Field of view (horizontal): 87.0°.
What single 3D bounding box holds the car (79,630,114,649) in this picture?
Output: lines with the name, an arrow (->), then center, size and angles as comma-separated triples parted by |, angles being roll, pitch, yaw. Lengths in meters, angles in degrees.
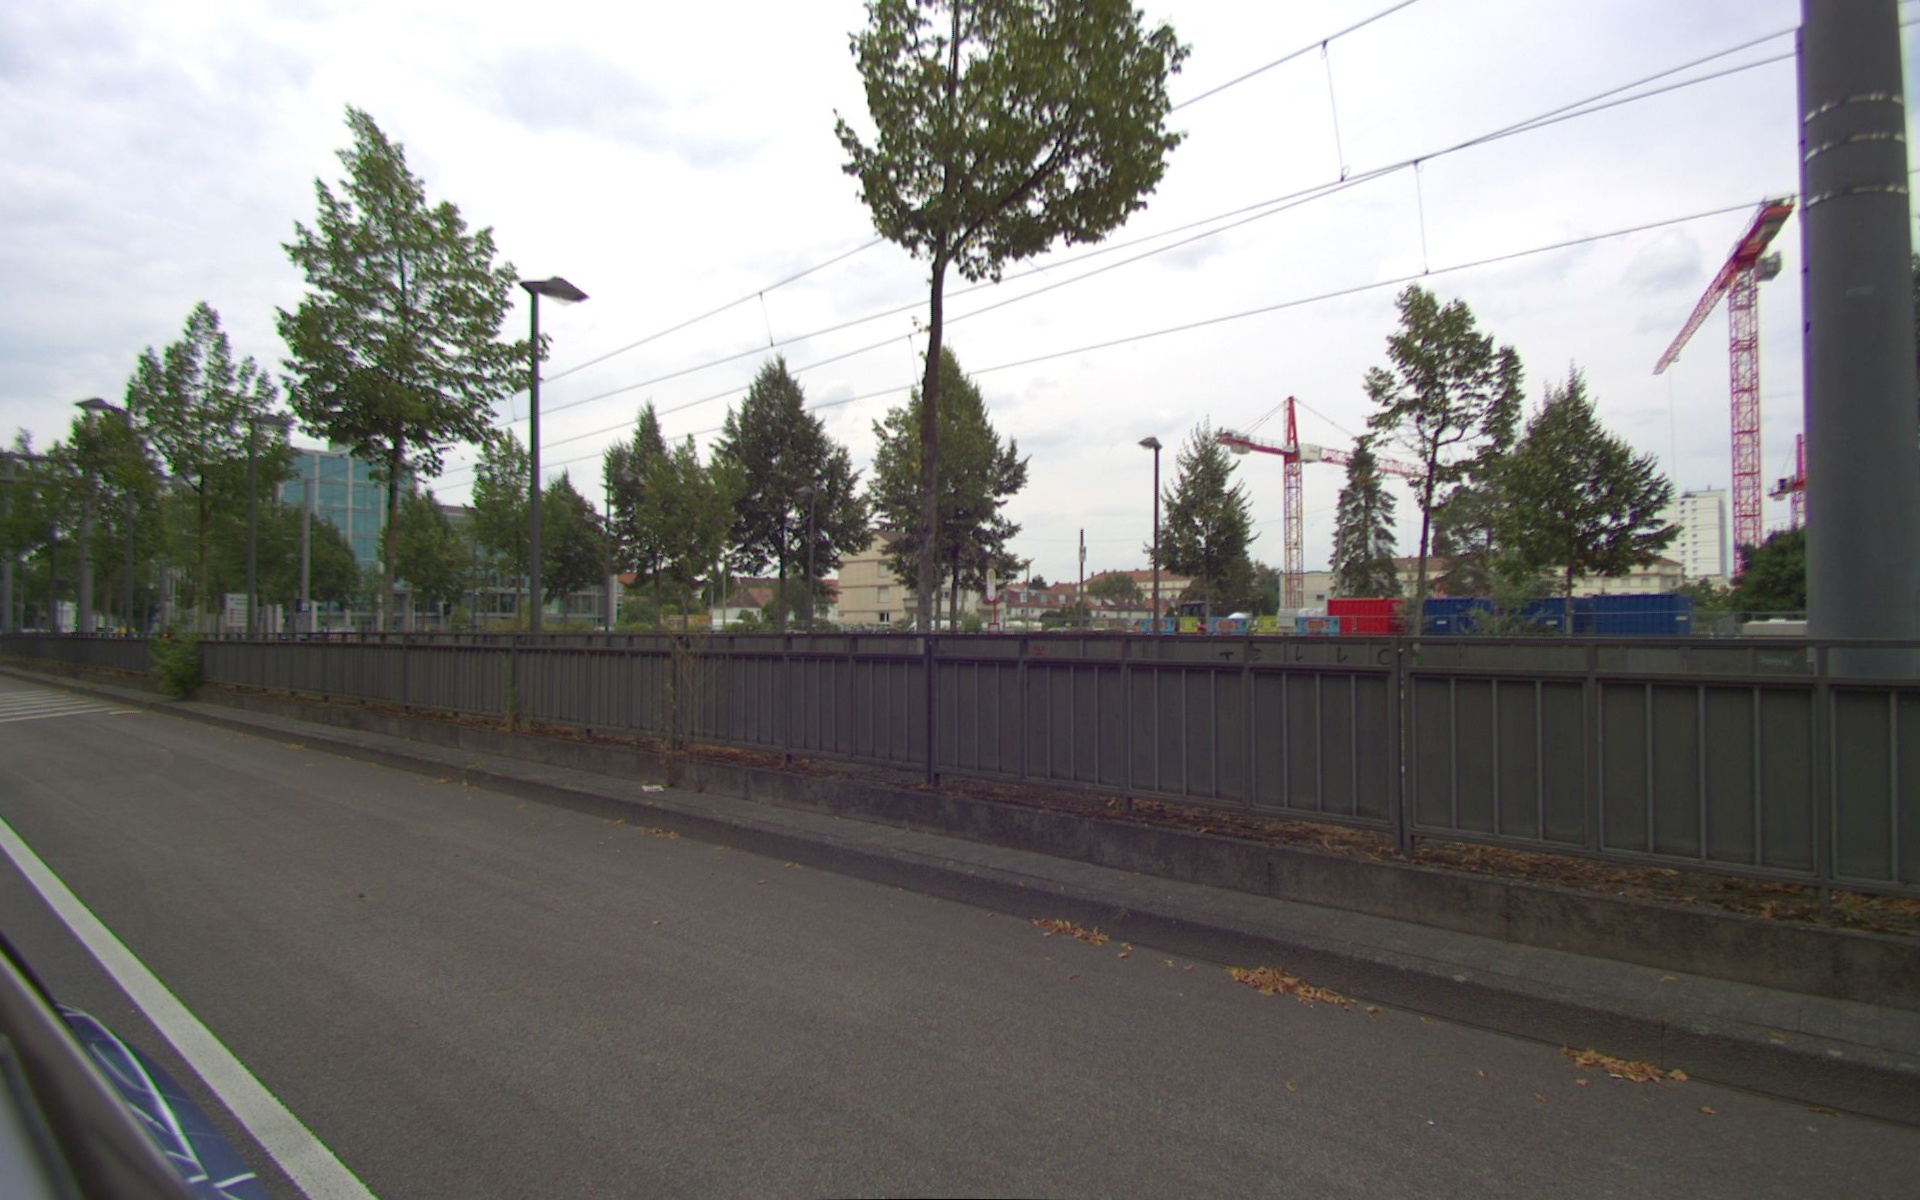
car -> -89.806, 4.103, 105.204 | 5.093, 1.959, 1.973 | -2, -3, 41

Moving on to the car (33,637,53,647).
car -> -130.747, 5.962, 144.328 | 3.864, 1.468, 1.729 | -2, -3, 42

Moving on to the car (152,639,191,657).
car -> -73.870, 4.503, 94.775 | 4.687, 1.669, 1.809 | -2, -3, 39
